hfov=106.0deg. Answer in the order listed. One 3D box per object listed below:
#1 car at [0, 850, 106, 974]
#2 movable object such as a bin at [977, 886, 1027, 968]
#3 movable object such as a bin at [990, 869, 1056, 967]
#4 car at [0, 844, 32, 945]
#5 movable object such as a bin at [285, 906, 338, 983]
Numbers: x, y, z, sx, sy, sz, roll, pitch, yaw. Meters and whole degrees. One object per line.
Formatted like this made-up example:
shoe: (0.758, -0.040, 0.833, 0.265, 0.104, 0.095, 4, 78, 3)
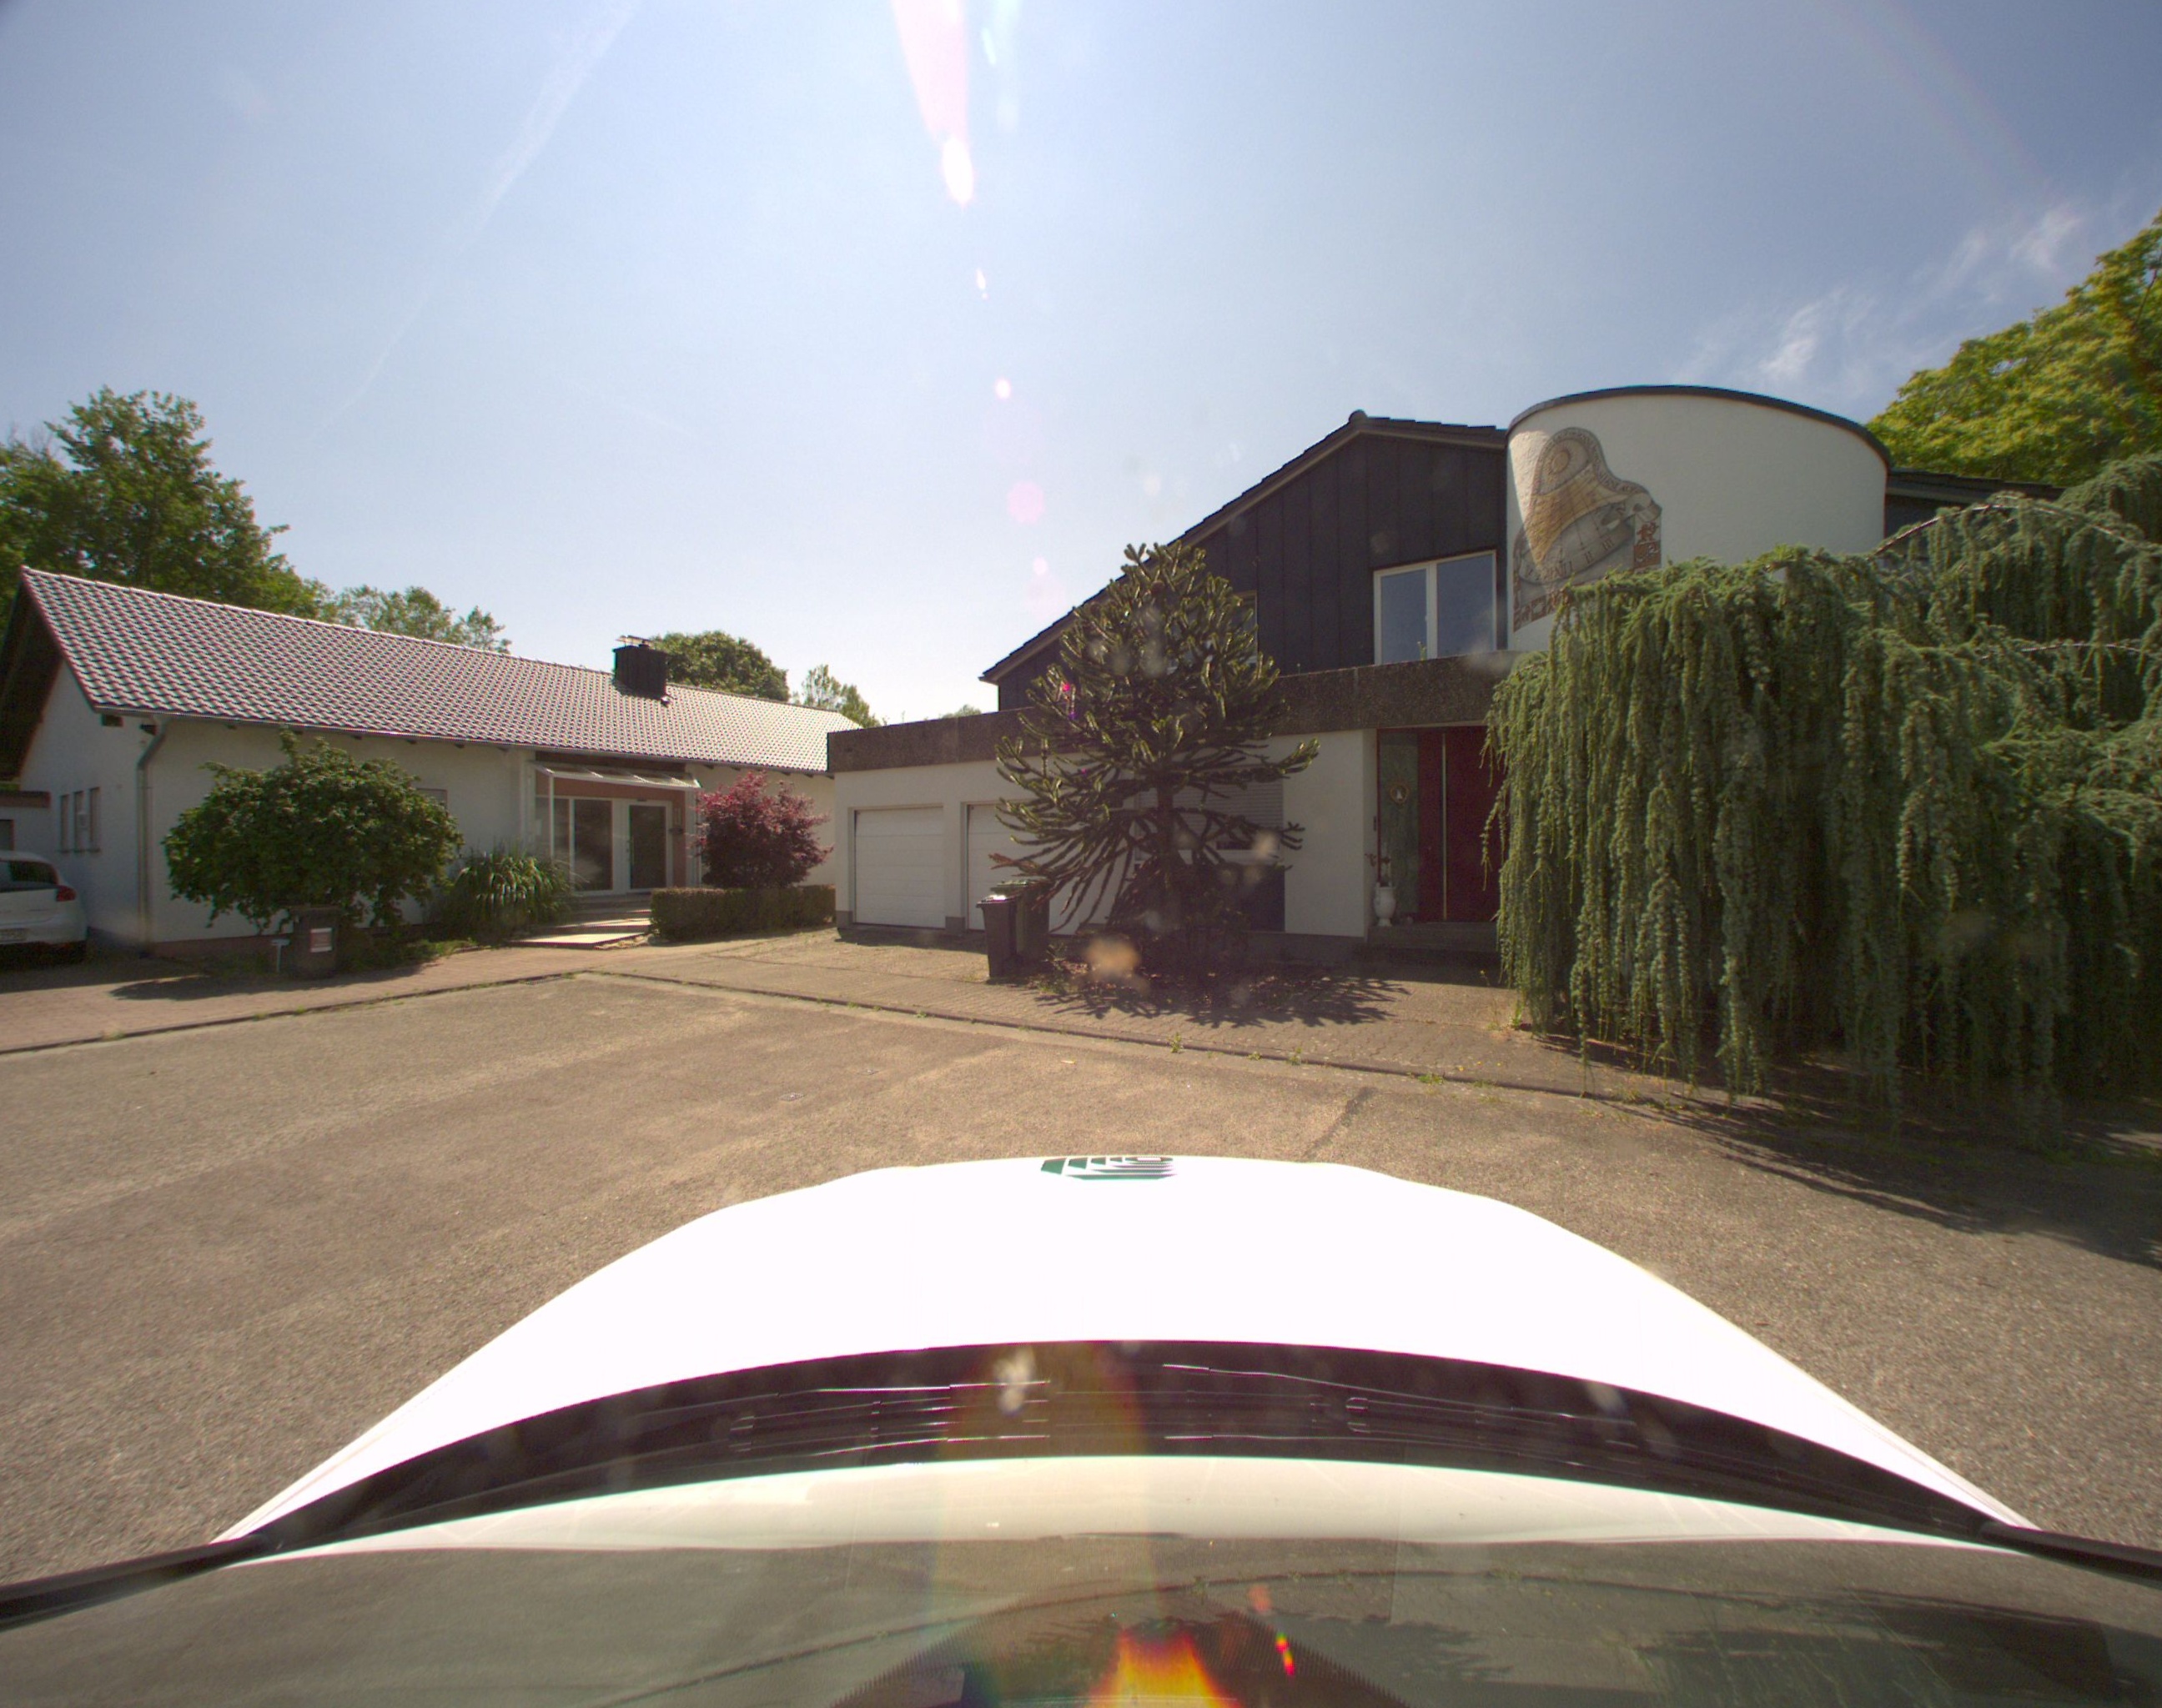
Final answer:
car: (-15.469, 0.734, 11.303, 3.949, 1.568, 1.763, 0, 1, 29)
movable object such as a bin: (-0.952, 0.867, 9.834, 0.519, 0.950, 0.390, 0, 0, 6)
movable object such as a bin: (-0.748, 0.806, 10.521, 0.626, 1.203, 0.555, 0, 0, 33)
car: (-19.360, 0.651, 13.556, 3.949, 1.607, 1.941, 1, 1, 33)
movable object such as a bin: (-9.585, 1.115, 10.141, 0.385, 0.891, 0.377, 0, 1, 31)
